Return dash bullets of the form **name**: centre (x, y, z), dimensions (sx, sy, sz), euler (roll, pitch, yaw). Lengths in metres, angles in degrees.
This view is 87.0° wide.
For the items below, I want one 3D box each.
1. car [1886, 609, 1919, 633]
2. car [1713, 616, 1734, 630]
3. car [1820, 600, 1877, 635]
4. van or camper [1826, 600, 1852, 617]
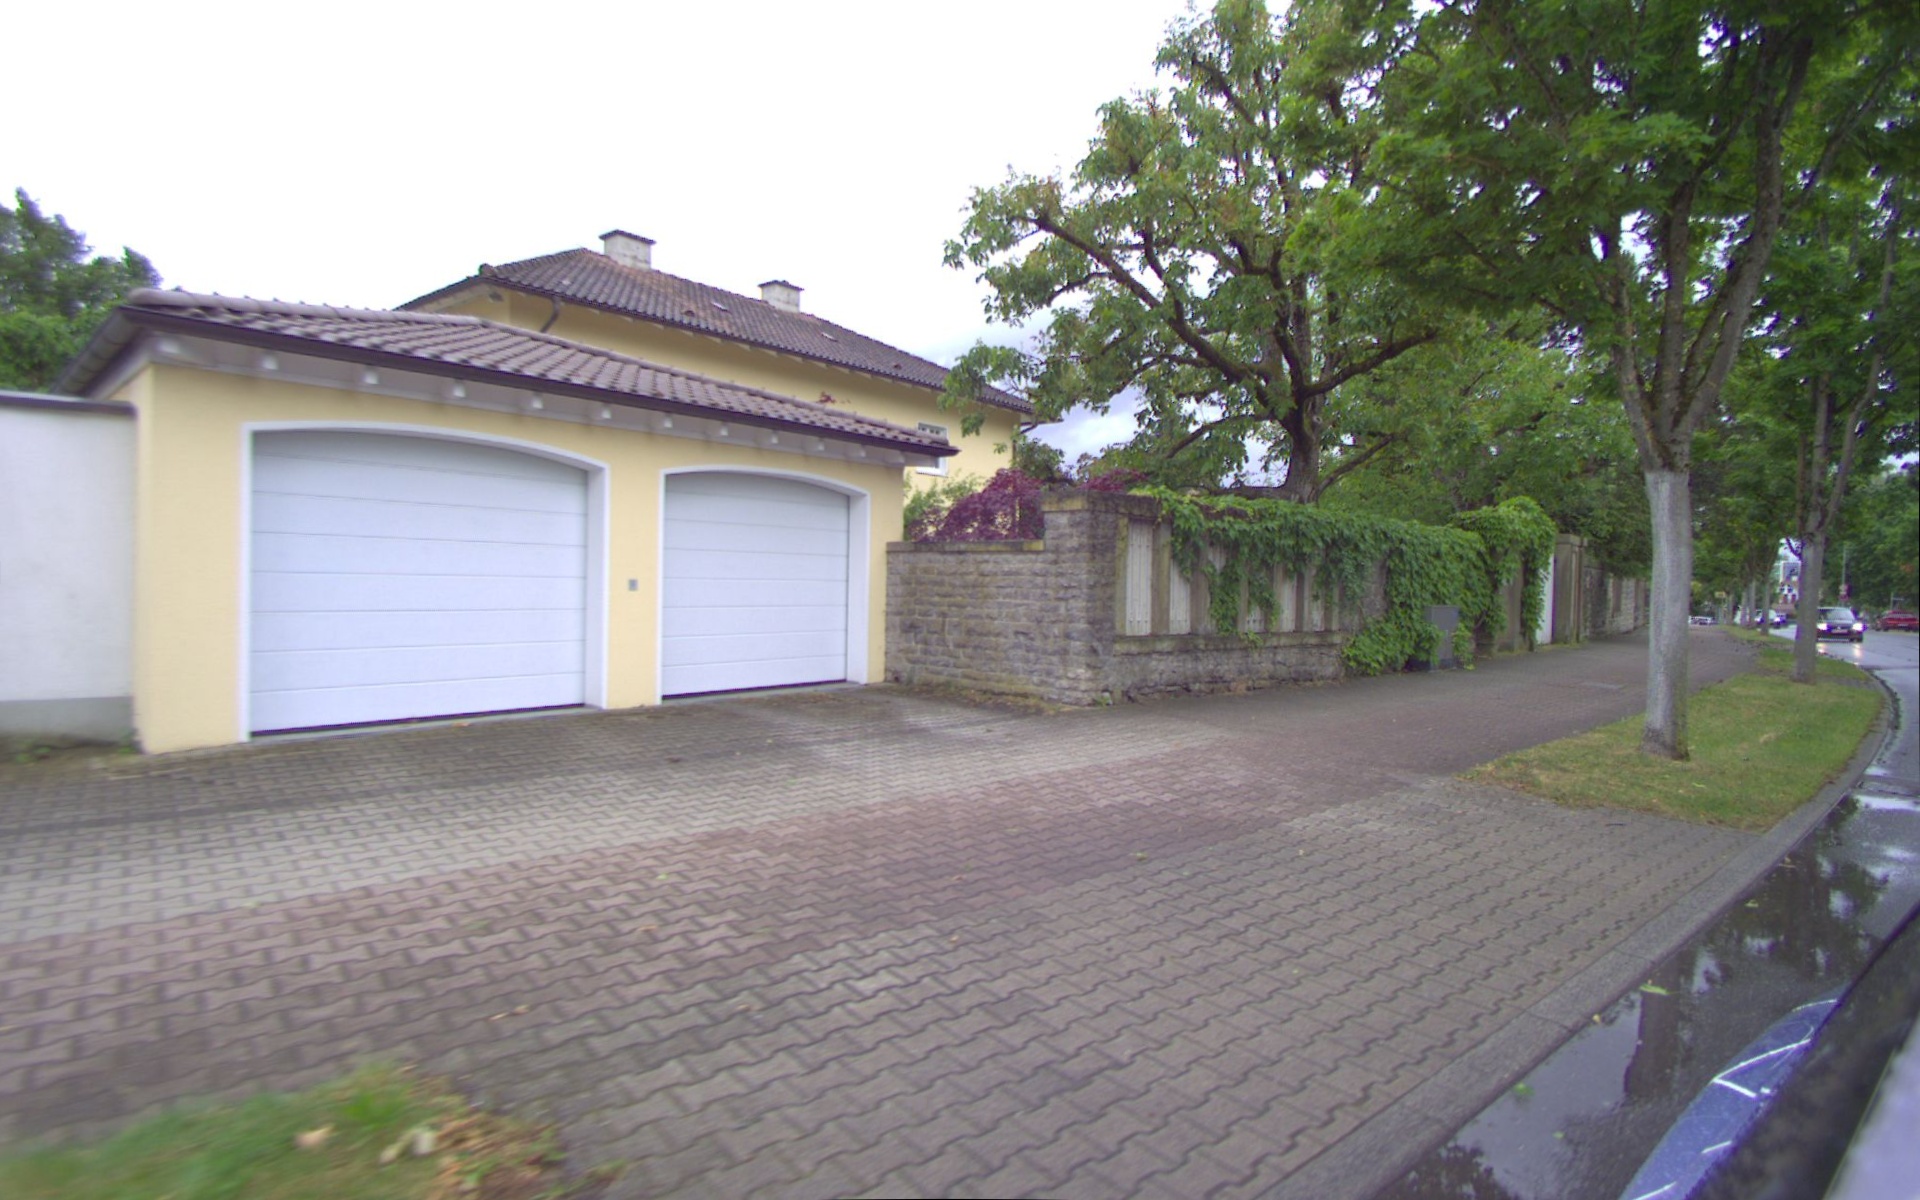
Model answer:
- **car**: centre (63.130, 1.395, 67.233), dimensions (1.837, 1.484, 4.195), euler (1, 0, 35)
- **car**: centre (86.814, 2.608, 115.034), dimensions (1.640, 1.395, 3.773), euler (3, 1, 40)
- **car**: centre (39.065, 0.810, 44.576), dimensions (1.649, 1.471, 3.943), euler (-1, -2, 38)
- **van or camper**: centre (146.574, 1.440, 168.776), dimensions (5.675, 2.641, 2.150), euler (0, 2, -37)
